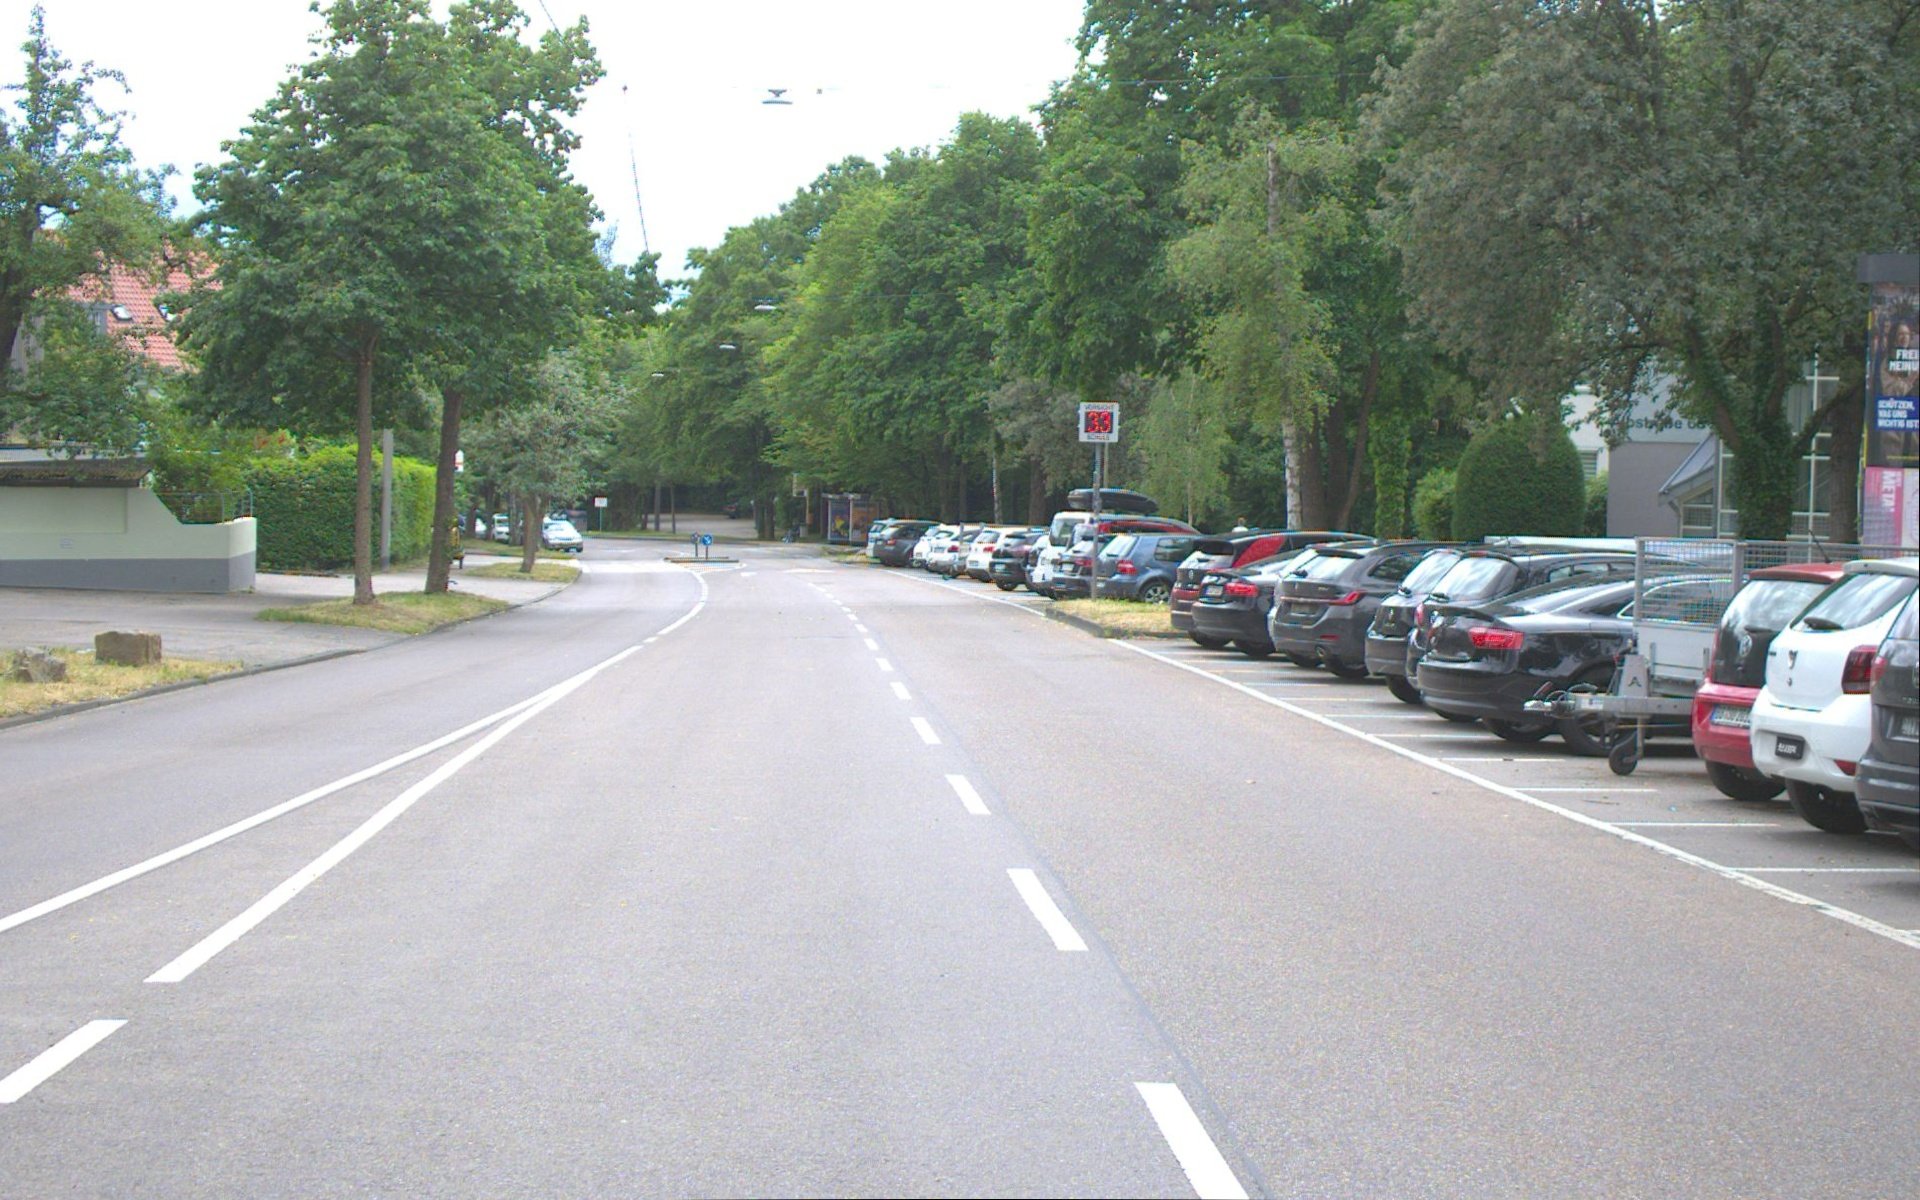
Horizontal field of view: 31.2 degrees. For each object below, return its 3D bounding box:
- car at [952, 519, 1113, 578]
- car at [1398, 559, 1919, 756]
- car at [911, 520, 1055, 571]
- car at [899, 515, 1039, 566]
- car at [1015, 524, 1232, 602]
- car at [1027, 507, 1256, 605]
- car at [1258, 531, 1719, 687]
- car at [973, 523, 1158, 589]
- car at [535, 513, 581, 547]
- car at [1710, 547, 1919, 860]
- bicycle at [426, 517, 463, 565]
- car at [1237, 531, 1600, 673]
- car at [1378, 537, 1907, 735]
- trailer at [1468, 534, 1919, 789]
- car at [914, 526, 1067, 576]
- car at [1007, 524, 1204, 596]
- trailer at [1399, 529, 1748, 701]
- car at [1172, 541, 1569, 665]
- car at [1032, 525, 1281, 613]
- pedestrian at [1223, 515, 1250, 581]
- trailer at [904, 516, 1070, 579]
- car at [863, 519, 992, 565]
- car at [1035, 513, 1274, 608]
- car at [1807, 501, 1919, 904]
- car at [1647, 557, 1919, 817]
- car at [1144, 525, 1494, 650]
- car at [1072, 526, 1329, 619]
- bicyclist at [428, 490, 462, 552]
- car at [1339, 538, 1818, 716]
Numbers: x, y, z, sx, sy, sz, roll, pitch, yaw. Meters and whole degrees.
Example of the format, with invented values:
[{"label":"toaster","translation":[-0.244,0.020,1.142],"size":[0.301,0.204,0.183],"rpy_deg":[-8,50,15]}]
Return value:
[{"label":"car","translation":[1.937,-1.379,91.825],"size":[3.883,1.444,1.744],"rpy_deg":[1,1,-24]},{"label":"car","translation":[5.435,0.419,25.397],"size":[4.036,1.323,1.560],"rpy_deg":[1,1,-11]},{"label":"car","translation":[0.686,-1.622,102.432],"size":[3.883,1.424,1.744],"rpy_deg":[1,1,-22]},{"label":"car","translation":[0.276,-1.818,104.990],"size":[3.883,1.424,1.744],"rpy_deg":[1,1,-22]},{"label":"car","translation":[3.337,-0.762,70.462],"size":[3.965,1.444,1.919],"rpy_deg":[2,1,-17]},{"label":"car","translation":[3.547,-0.850,67.113],"size":[4.085,1.748,1.787],"rpy_deg":[1,1,-29]},{"label":"car","translation":[5.415,0.091,35.320],"size":[4.343,1.440,1.635],"rpy_deg":[1,2,-16]},{"label":"car","translation":[2.470,-1.035,80.699],"size":[3.884,1.444,1.845],"rpy_deg":[1,1,-26]},{"label":"car","translation":[-18.306,-3.195,156.265],"size":[1.866,1.466,4.001],"rpy_deg":[1,1,-10]},{"label":"car","translation":[6.052,0.543,17.933],"size":[3.820,1.524,1.606],"rpy_deg":[2,1,-6]},{"label":"bicycle","translation":[-14.219,-1.641,94.873],"size":[0.844,1.262,2.653],"rpy_deg":[1,2,-5]},{"label":"car","translation":[5.097,0.019,38.331],"size":[3.609,1.440,1.635],"rpy_deg":[1,2,-18]},{"label":"car","translation":[5.590,0.288,28.233],"size":[3.910,1.481,1.619],"rpy_deg":[1,1,-17]},{"label":"trailer","translation":[5.435,0.405,22.779],"size":[3.687,1.529,1.646],"rpy_deg":[2,2,-13]},{"label":"car","translation":[0.864,-1.377,96.651],"size":[3.884,1.305,1.744],"rpy_deg":[1,1,-26]},{"label":"car","translation":[3.199,-0.880,75.725],"size":[3.883,1.444,1.845],"rpy_deg":[2,1,-22]},{"label":"trailer","translation":[5.903,0.138,33.169],"size":[2.985,1.537,1.304],"rpy_deg":[1,2,-15]},{"label":"car","translation":[4.868,0.032,40.896],"size":[4.311,1.336,1.734],"rpy_deg":[1,1,-16]},{"label":"car","translation":[3.497,-0.562,61.327],"size":[4.026,1.400,1.757],"rpy_deg":[2,1,-20]},{"label":"pedestrian","translation":[7.097,-1.336,88.184],"size":[0.649,1.665,0.743],"rpy_deg":[1,1,3]},{"label":"trailer","translation":[0.733,-1.430,93.954],"size":[4.153,1.568,1.712],"rpy_deg":[2,1,-21]},{"label":"car","translation":[-1.086,-1.929,114.944],"size":[3.883,1.424,1.744],"rpy_deg":[1,1,-22]},{"label":"car","translation":[3.622,-0.739,64.243],"size":[3.995,1.614,1.885],"rpy_deg":[2,1,-18]},{"label":"car","translation":[6.015,0.480,15.280],"size":[3.984,1.719,1.681],"rpy_deg":[1,1,-11]},{"label":"car","translation":[6.045,0.517,20.543],"size":[3.423,1.440,1.560],"rpy_deg":[1,1,-14]},{"label":"car","translation":[4.567,-0.159,43.728],"size":[4.070,1.510,1.734],"rpy_deg":[1,1,-24]},{"label":"car","translation":[4.097,-0.475,58.752],"size":[3.963,1.400,1.757],"rpy_deg":[2,1,-17]},{"label":"bicyclist","translation":[-14.217,-2.185,94.949],"size":[0.844,1.691,0.714],"rpy_deg":[1,2,-6]},{"label":"car","translation":[5.518,0.233,30.803],"size":[3.839,1.450,1.635],"rpy_deg":[1,1,-14]}]
